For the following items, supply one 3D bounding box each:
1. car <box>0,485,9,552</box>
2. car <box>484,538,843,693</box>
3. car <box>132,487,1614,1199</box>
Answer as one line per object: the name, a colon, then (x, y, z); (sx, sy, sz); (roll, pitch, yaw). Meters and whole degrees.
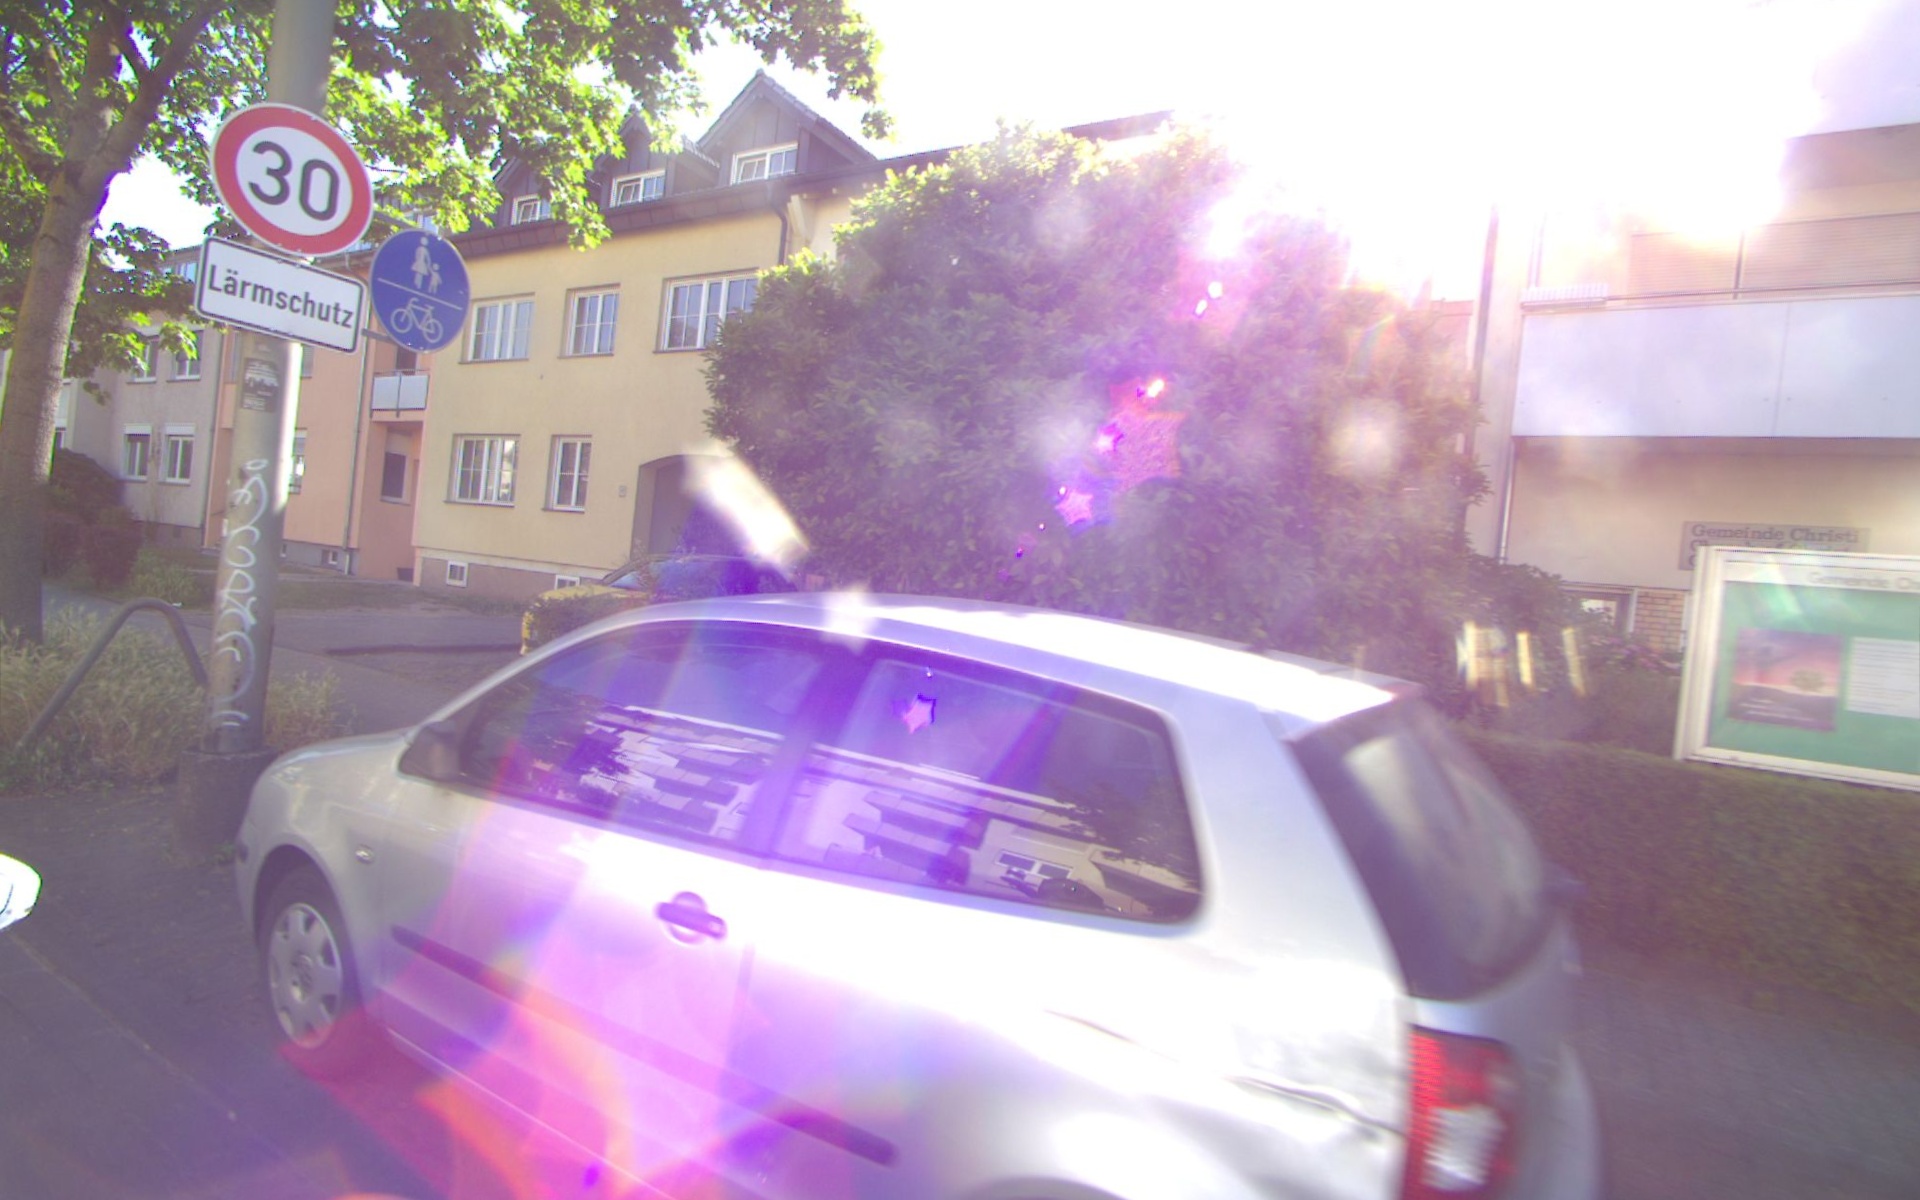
car: (-21.855, -1.884, 21.362); (3.656, 1.374, 1.531); (7, 3, 32)
car: (-3.443, 0.147, 12.372); (1.801, 1.461, 3.985); (7, 3, 32)
car: (-0.553, 0.596, 2.775); (3.802, 1.476, 1.567); (6, 2, 33)
